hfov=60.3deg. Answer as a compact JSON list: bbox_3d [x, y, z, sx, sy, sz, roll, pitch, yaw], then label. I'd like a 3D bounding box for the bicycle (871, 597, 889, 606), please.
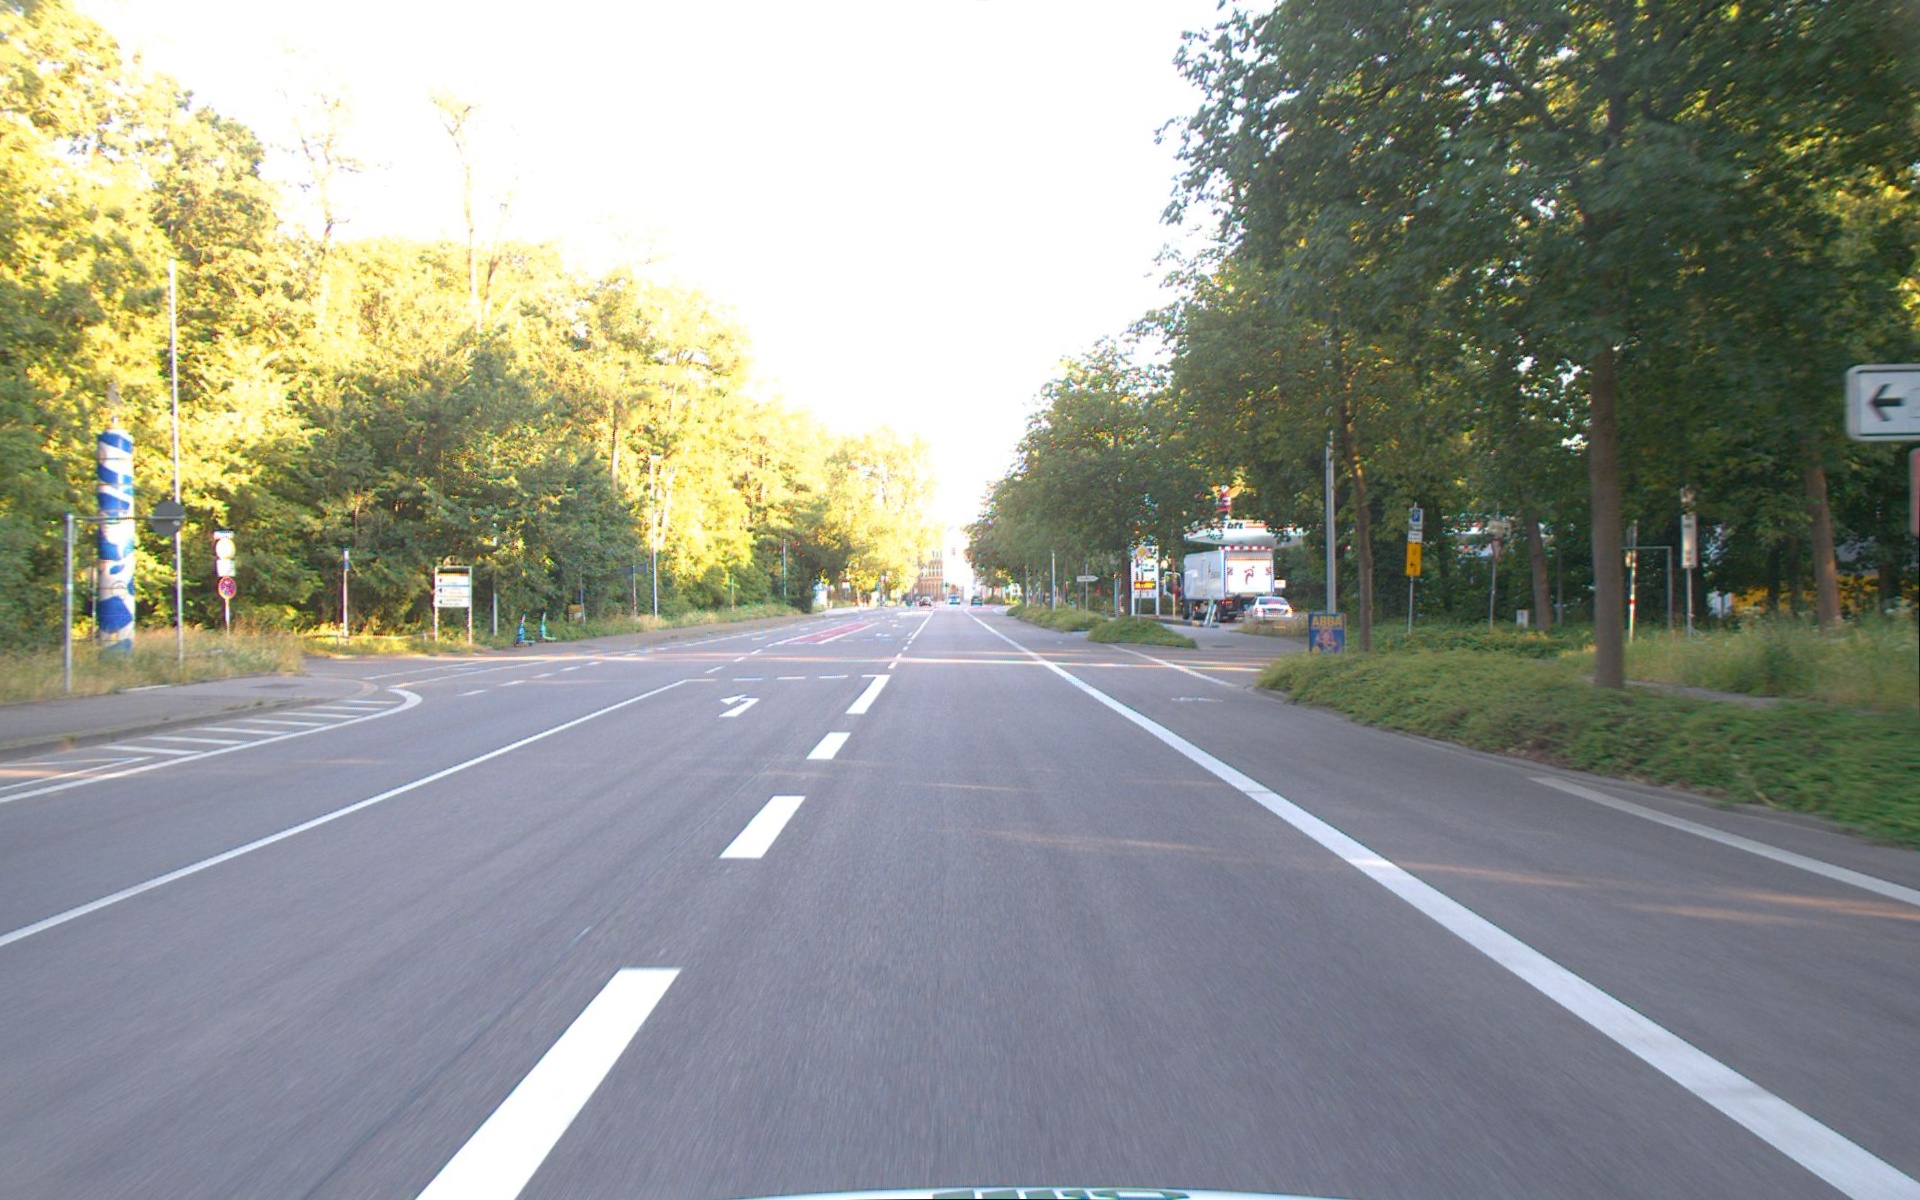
[{"bbox_3d":[-10.971,0.219,226.918,2.410,1.216,0.757,-1,0,9],"label":"bicycle"}]

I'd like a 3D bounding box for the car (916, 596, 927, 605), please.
[{"bbox_3d":[-5.784,0.067,248.072,1.462,1.314,3.490,-1,0,0],"label":"car"}]

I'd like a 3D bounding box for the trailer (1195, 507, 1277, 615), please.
[{"bbox_3d":[14.827,-2.066,89.392,2.959,5.557,7.933,0,0,-1],"label":"trailer"}]

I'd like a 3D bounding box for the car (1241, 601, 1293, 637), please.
[{"bbox_3d":[14.213,0.852,76.740,1.733,1.611,4.821,1,0,3],"label":"car"}]

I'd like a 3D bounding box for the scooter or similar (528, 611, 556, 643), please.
[{"bbox_3d":[-14.653,0.940,57.958,0.886,1.087,0.492,-1,0,-26],"label":"scooter or similar"}]

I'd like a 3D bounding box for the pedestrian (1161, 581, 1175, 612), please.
[{"bbox_3d":[12.586,-0.211,100.179,0.741,1.829,0.707,1,0,3],"label":"pedestrian"}]

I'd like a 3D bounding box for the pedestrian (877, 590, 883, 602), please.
[{"bbox_3d":[-10.986,-0.585,226.891,0.774,1.608,0.746,1,0,9],"label":"pedestrian"}]

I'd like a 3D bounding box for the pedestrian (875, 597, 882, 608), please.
[{"bbox_3d":[-11.560,0.370,234.898,0.774,1.608,0.746,1,0,9],"label":"pedestrian"}]

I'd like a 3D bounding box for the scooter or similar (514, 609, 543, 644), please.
[{"bbox_3d":[-14.239,0.877,54.595,0.355,1.129,0.874,-1,0,41],"label":"scooter or similar"}]

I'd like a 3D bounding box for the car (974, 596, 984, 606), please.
[{"bbox_3d":[2.864,0.118,250.914,1.462,1.512,3.490,-1,0,0],"label":"car"}]

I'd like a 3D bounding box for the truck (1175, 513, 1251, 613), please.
[{"bbox_3d":[14.701,-2.123,96.725,2.972,5.551,8.408,-1,1,-1],"label":"truck"}]

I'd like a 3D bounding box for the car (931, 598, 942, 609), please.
[{"bbox_3d":[-3.192,0.497,226.980,1.462,1.512,3.491,-1,0,0],"label":"car"}]
